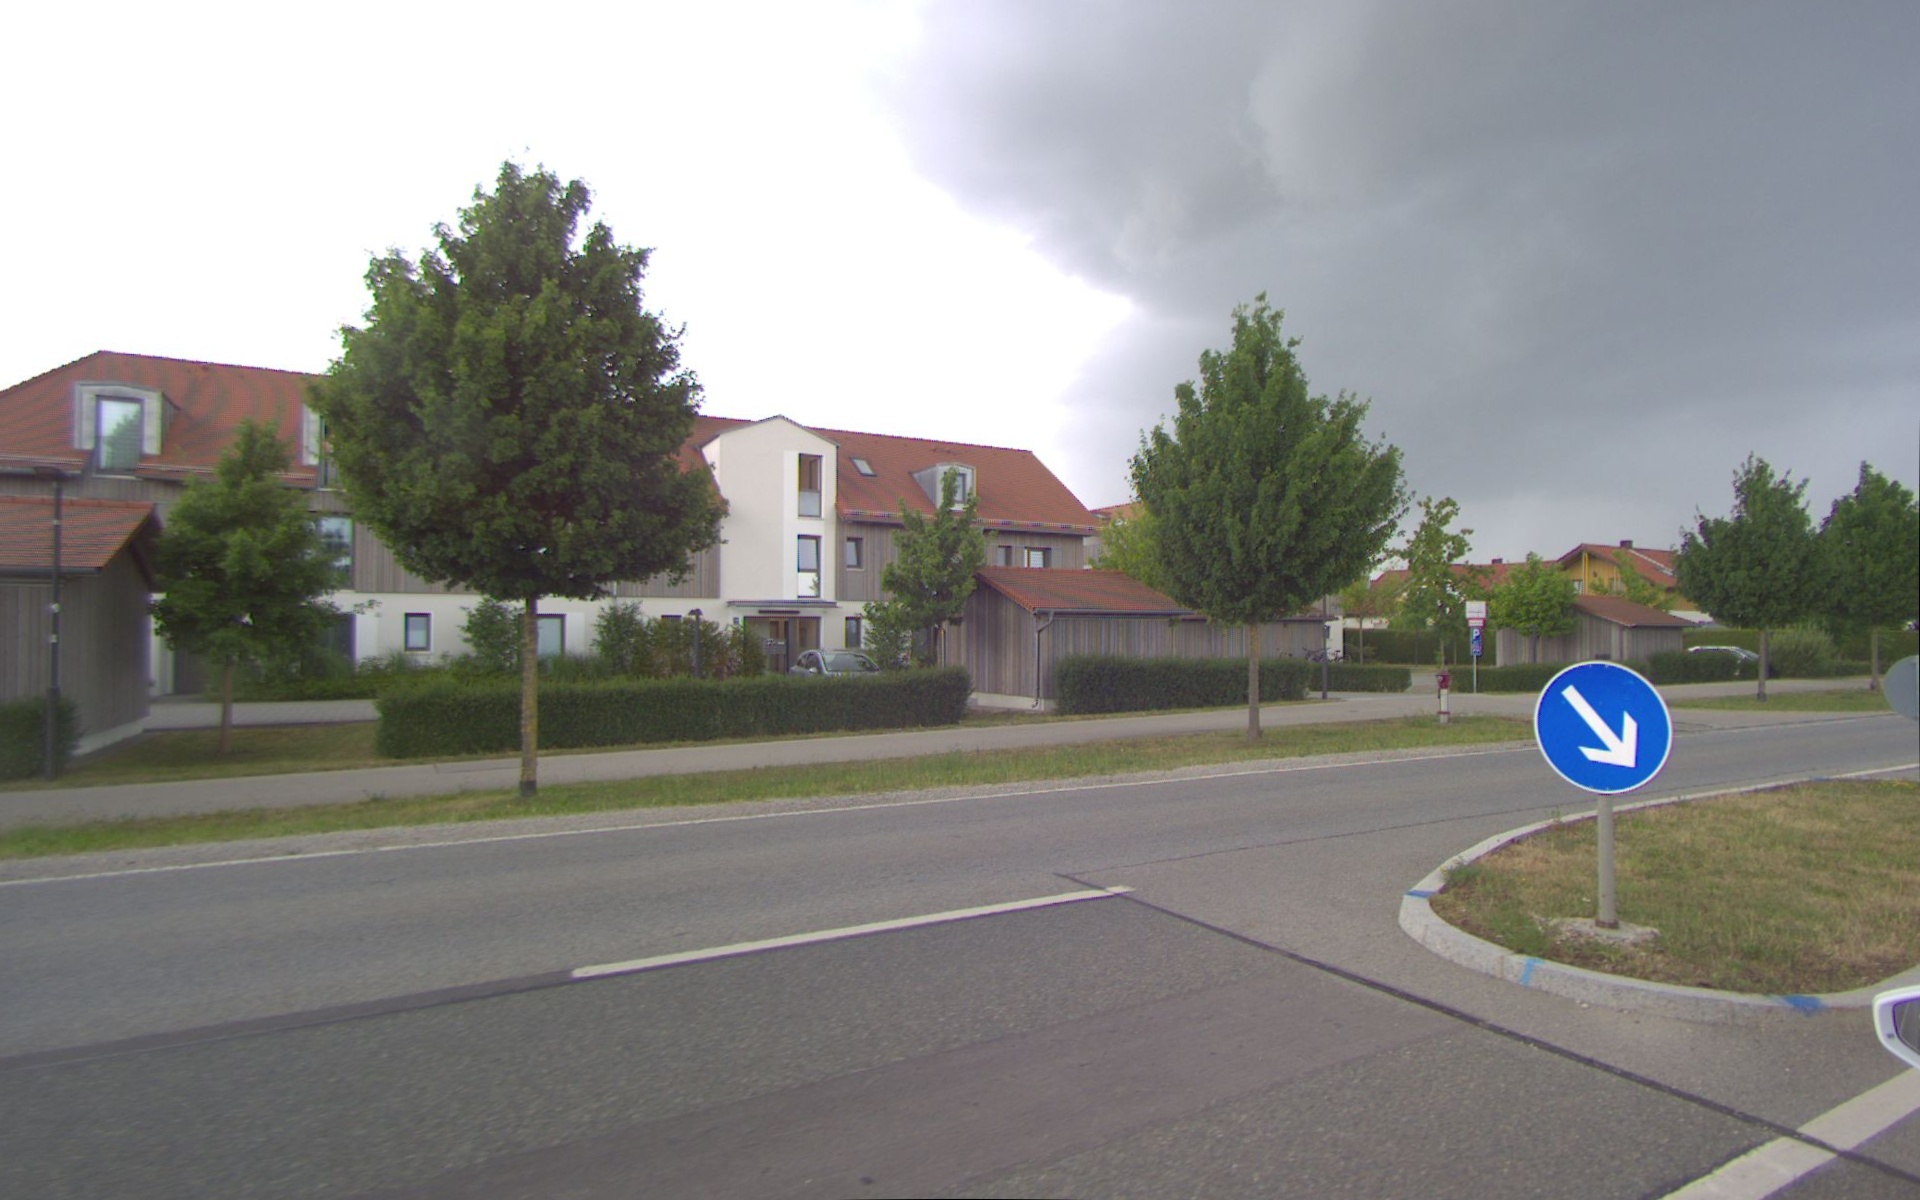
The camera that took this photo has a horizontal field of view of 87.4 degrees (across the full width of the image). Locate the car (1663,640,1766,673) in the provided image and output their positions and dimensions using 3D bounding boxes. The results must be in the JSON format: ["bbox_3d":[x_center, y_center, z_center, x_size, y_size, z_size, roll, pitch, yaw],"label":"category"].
[{"bbox_3d":[35.989,2.693,47.964,1.641,1.549,3.570,1,-3,-33],"label":"car"}]

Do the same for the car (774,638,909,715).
[{"bbox_3d":[-2.975,1.776,24.493,1.975,1.577,3.970,1,0,-28],"label":"car"}]
